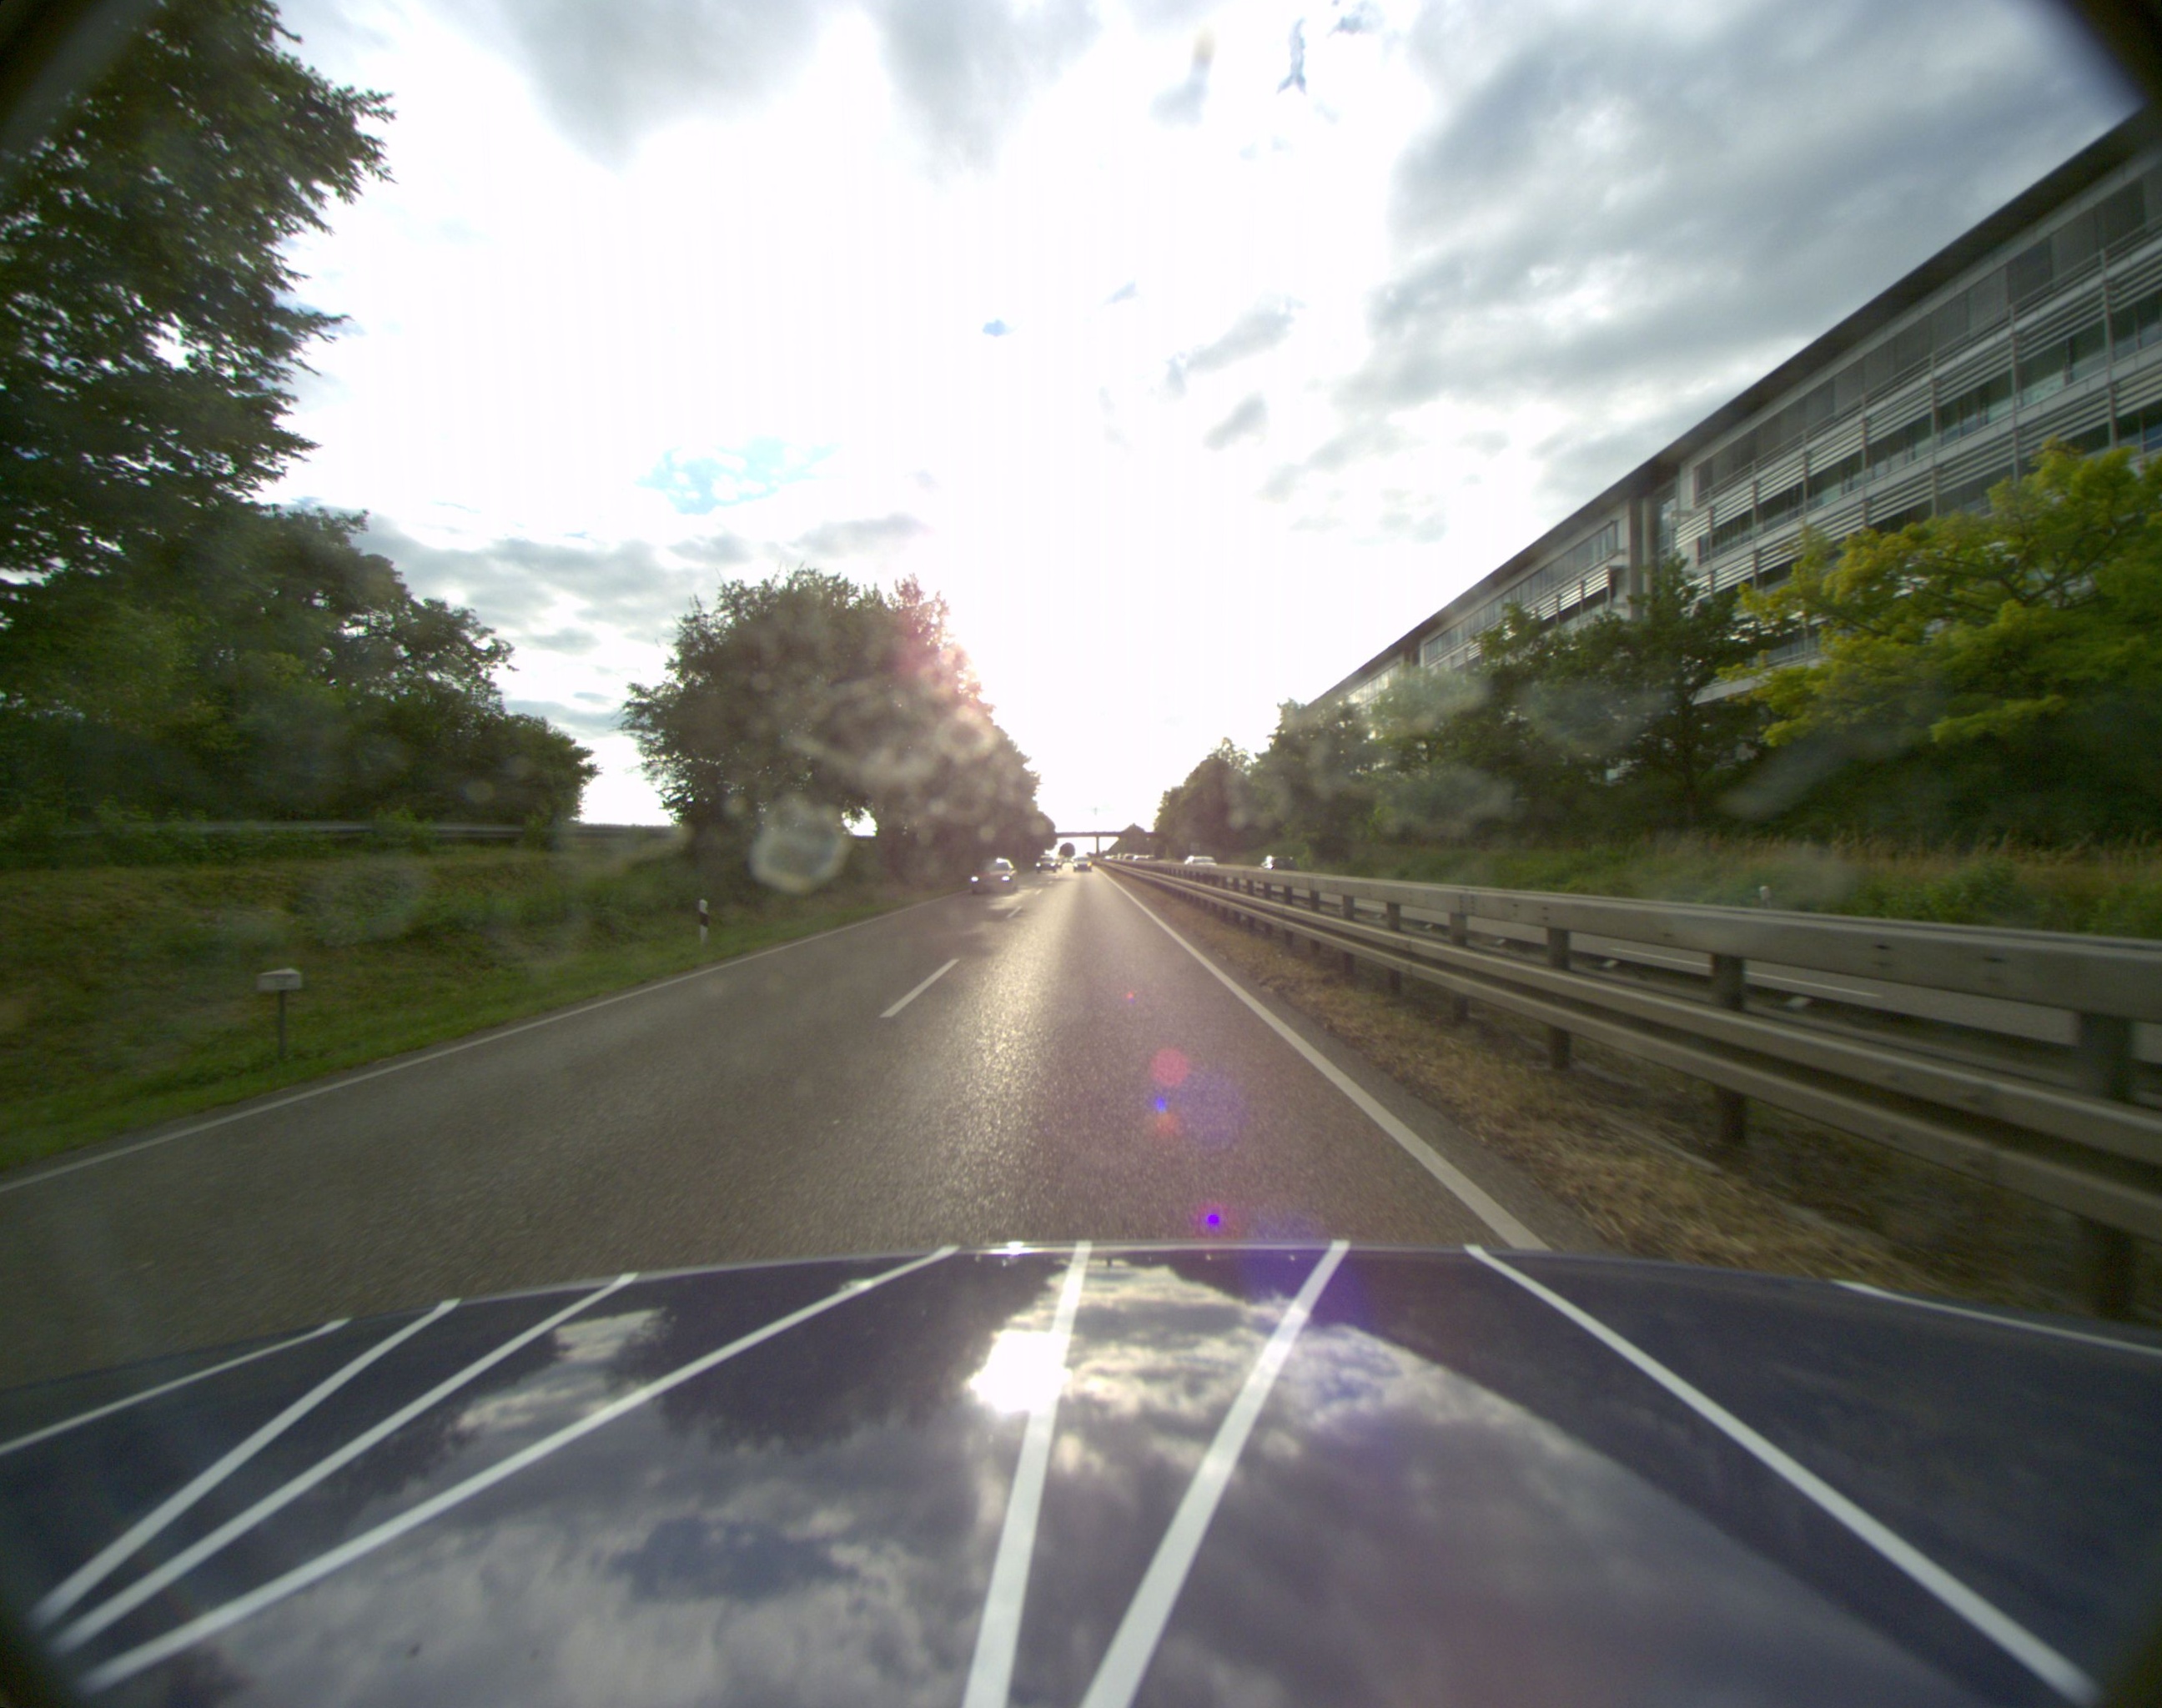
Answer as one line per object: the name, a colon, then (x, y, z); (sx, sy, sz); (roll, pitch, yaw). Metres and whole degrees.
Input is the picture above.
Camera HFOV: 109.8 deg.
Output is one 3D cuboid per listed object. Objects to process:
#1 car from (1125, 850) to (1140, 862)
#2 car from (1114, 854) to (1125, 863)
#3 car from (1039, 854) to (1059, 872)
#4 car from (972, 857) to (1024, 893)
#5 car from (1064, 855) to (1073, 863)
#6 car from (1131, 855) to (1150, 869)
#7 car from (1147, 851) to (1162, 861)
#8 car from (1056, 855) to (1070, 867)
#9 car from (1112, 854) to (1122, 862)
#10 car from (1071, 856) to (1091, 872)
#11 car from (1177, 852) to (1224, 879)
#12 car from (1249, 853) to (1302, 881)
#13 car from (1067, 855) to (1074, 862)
car: (7.271, 0.296, 107.075); (1.747, 1.635, 5.279); (-1, 0, 0)
car: (6.332, 0.746, 126.312); (1.596, 1.439, 3.999); (-1, 1, 0)
car: (-3.142, 0.939, 75.468); (1.723, 1.657, 4.419); (-3, -1, 1)
car: (-3.621, 0.906, 33.738); (1.723, 1.467, 3.729); (-1, -1, 2)
car: (-3.257, 1.373, 200.677); (1.998, 2.002, 4.000); (-3, 0, 0)
car: (6.772, 0.907, 86.867); (1.747, 1.449, 4.311); (1, 0, 0)
car: (11.312, 0.367, 117.456); (1.821, 1.476, 4.417); (2, 0, 0)
car: (-2.223, 0.874, 92.949); (1.558, 1.346, 3.408); (-1, 0, 1)
car: (7.499, 0.836, 159.151); (1.825, 1.574, 4.316); (-1, 0, 0)
car: (0.033, 0.964, 75.284); (1.723, 1.493, 4.420); (-3, -1, 1)
car: (6.562, 0.596, 42.033); (1.839, 1.370, 4.566); (-1, 0, 0)
car: (10.278, 0.643, 40.490); (1.761, 1.414, 4.566); (1, 0, 1)
car: (-3.133, 1.319, 229.655); (1.998, 2.002, 4.000); (-3, 0, 0)
